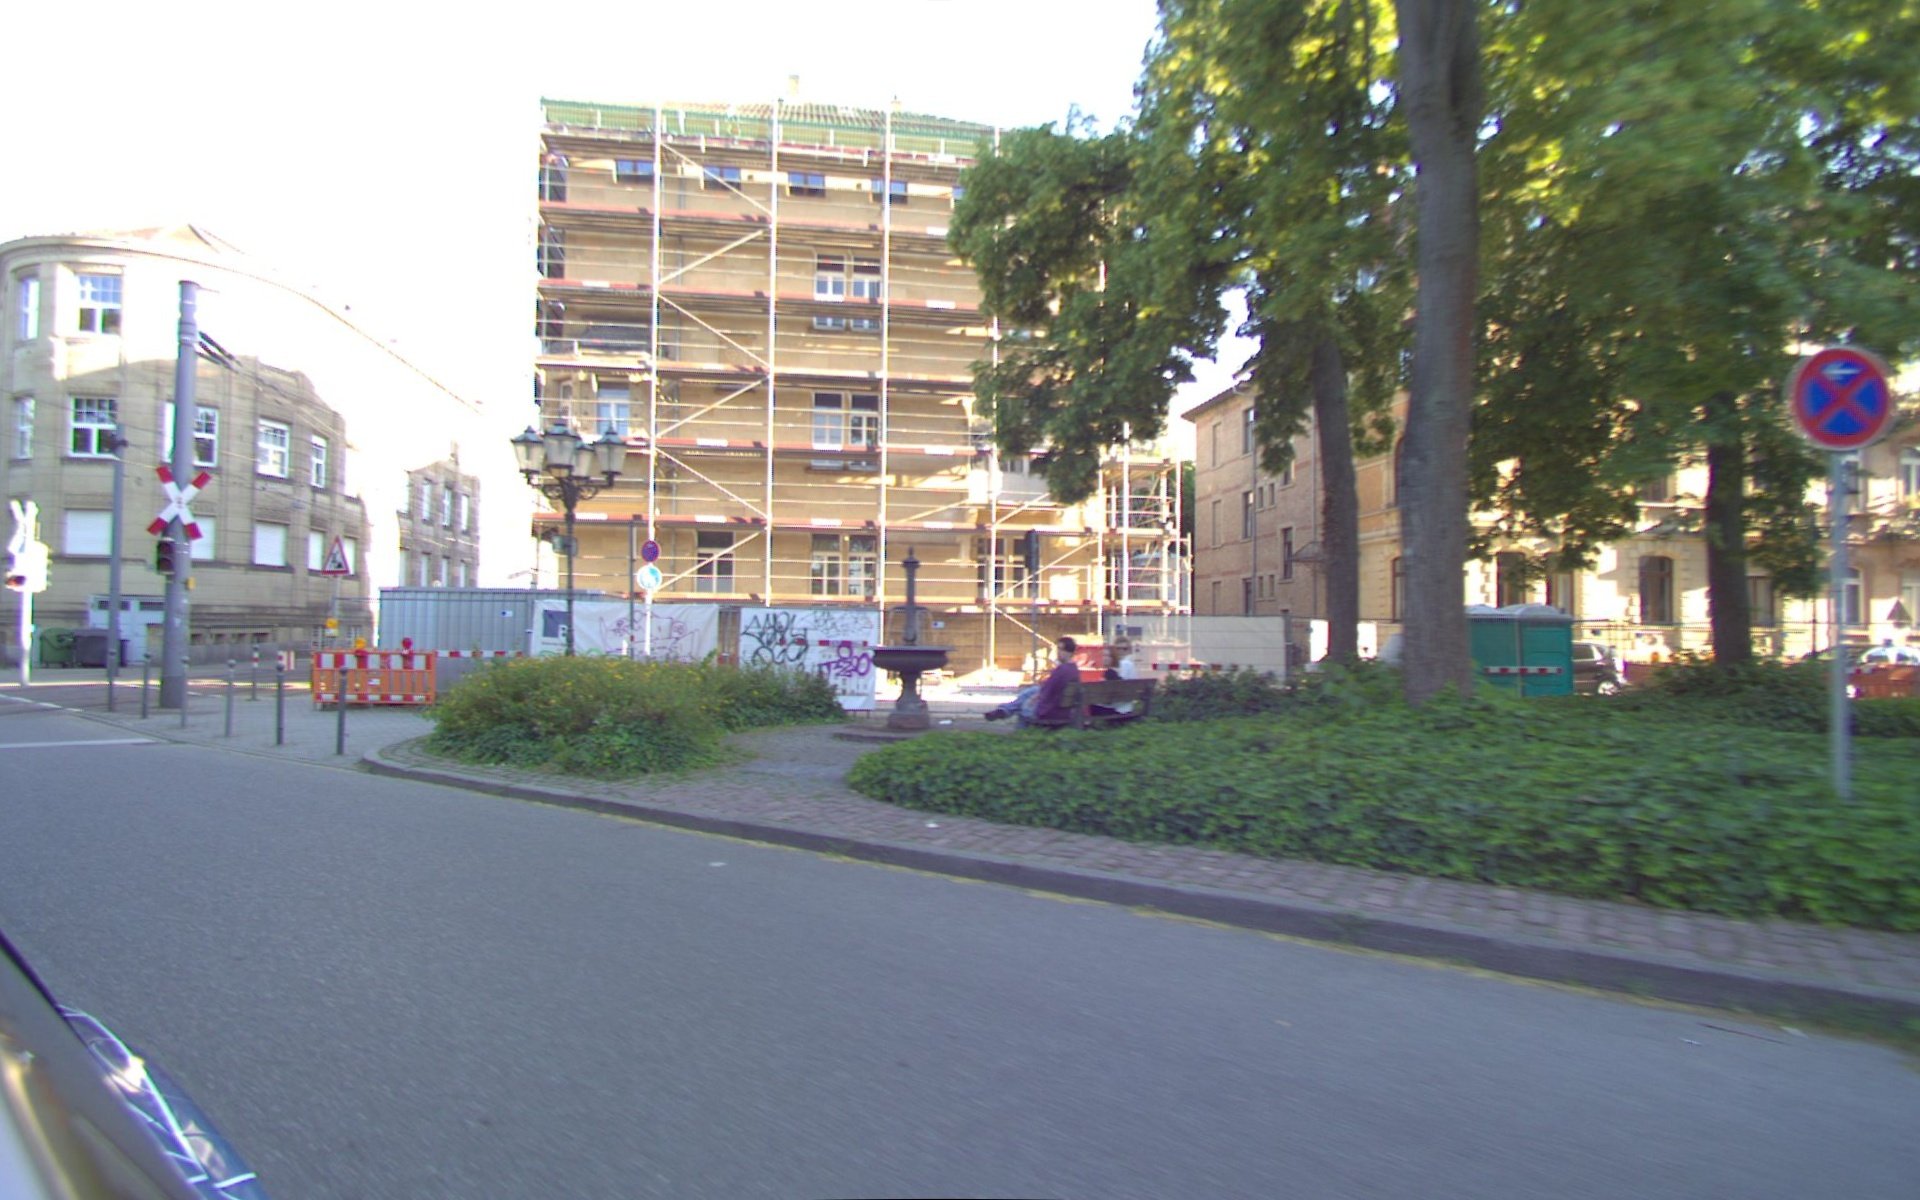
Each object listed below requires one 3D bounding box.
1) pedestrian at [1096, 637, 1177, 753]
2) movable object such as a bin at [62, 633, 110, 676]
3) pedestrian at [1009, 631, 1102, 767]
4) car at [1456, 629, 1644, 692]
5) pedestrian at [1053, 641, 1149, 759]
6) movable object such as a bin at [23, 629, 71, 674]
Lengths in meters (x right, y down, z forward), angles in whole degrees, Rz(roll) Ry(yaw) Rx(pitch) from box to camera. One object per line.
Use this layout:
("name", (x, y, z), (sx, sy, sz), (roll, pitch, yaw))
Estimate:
("pedestrian", (1.974, 1.035, 11.341), (0.725, 1.242, 0.545), (-2, -3, 44))
("movable object such as a bin", (-30.374, 1.869, 35.212), (1.167, 1.439, 1.925), (2, -3, -40))
("pedestrian", (0.963, 0.974, 10.220), (0.766, 1.308, 0.545), (-2, -3, 44))
("car", (16.158, 1.645, 27.815), (4.153, 1.668, 1.916), (1, -2, -9))
("pedestrian", (1.519, 1.054, 10.967), (0.884, 1.204, 0.545), (-2, -3, 44))
("movable object such as a bin", (-31.791, 1.784, 35.274), (1.131, 1.497, 1.630), (2, -3, -40))
